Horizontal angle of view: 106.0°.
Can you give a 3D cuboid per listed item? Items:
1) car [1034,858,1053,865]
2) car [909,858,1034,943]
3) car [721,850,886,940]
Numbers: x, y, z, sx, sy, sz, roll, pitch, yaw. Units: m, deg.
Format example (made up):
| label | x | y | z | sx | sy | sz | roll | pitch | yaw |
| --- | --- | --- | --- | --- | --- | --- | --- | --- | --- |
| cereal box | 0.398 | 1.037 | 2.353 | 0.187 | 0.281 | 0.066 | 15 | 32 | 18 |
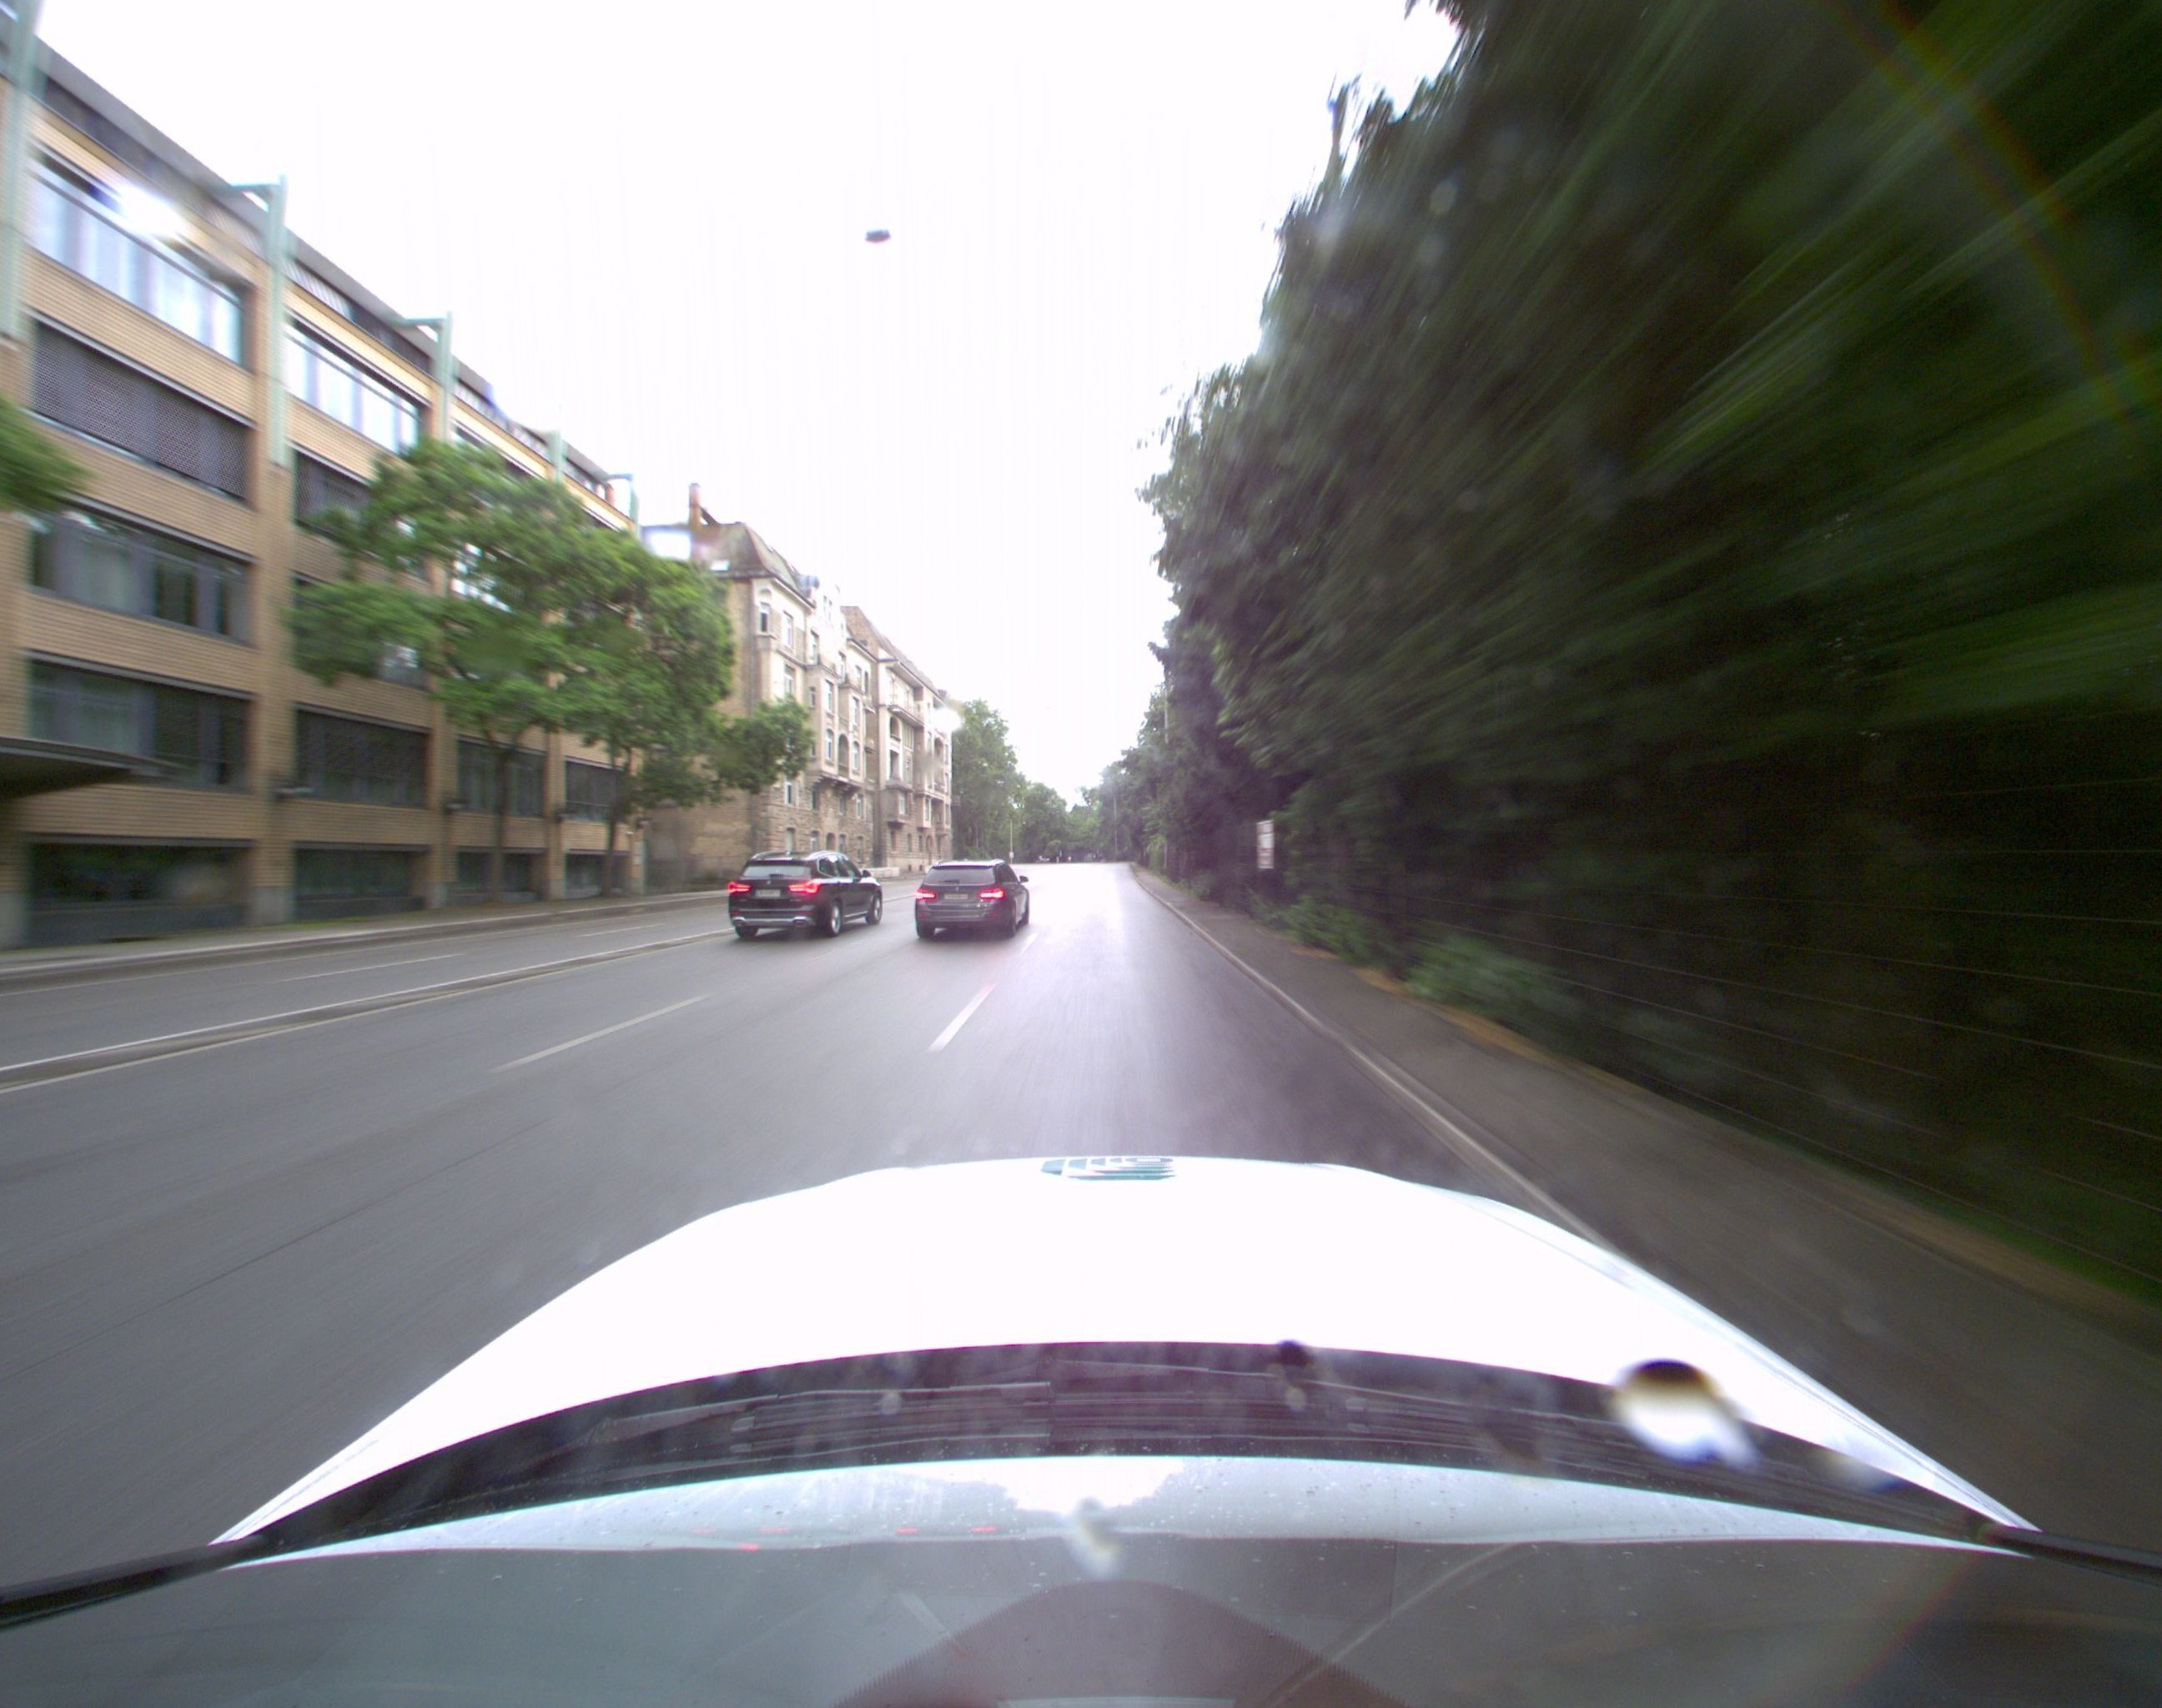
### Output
| label | x | y | z | sx | sy | sz | roll | pitch | yaw |
| --- | --- | --- | --- | --- | --- | --- | --- | --- | --- |
| car | -8.212 | 1.689 | 177.749 | 1.702 | 1.427 | 4.317 | 4 | -4 | -44 |
| car | -2.030 | 0.816 | 16.288 | 1.751 | 1.432 | 4.414 | 1 | 0 | 2 |
| car | -5.489 | 0.745 | 16.746 | 1.751 | 1.586 | 4.414 | 0 | 0 | 2 |
